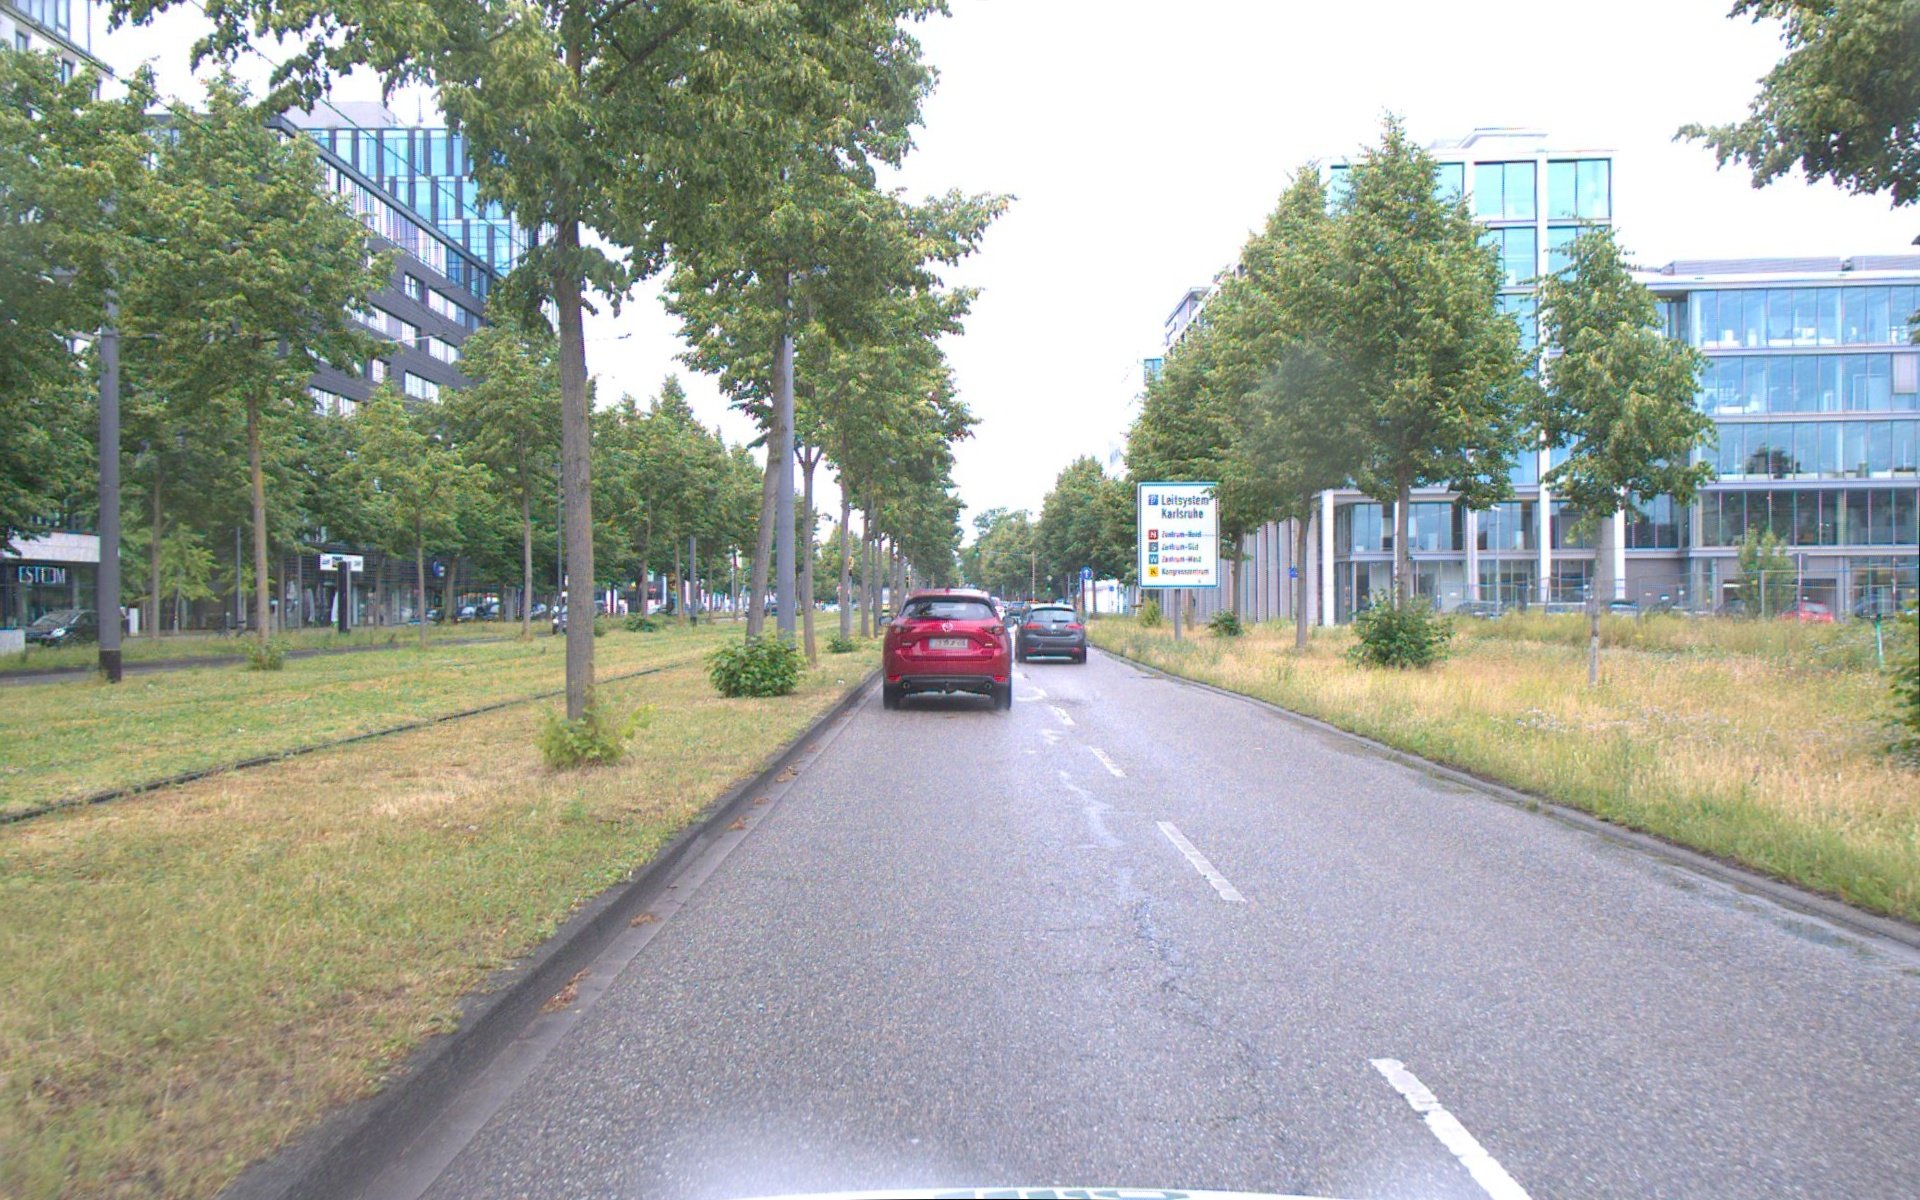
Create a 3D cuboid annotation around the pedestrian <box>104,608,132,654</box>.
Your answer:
[{"bbox_3d":[-37.517,1.377,73.696,0.778,2.016,0.856,0,0,1],"label":"pedestrian"}]

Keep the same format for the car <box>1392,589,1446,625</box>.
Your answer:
[{"bbox_3d":[21.132,0.298,76.221,1.815,1.608,4.003,0,0,7],"label":"car"}]

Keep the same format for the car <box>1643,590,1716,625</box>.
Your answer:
[{"bbox_3d":[32.447,0.325,74.682,1.748,1.500,4.232,0,0,5],"label":"car"}]

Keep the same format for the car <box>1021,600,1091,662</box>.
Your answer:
[{"bbox_3d":[2.478,0.752,42.148,1.707,1.490,3.783,0,0,4],"label":"car"}]

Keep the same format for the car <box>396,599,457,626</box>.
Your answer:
[{"bbox_3d":[-28.304,0.662,87.839,1.953,1.402,4.000,0,0,0],"label":"car"}]

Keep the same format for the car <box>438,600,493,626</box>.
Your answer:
[{"bbox_3d":[-28.069,0.719,94.037,1.953,1.402,4.000,0,0,0],"label":"car"}]

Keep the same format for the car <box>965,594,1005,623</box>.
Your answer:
[{"bbox_3d":[1.272,0.437,86.132,1.927,1.462,4.551,0,0,-2],"label":"car"}]

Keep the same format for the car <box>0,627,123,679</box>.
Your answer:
[{"bbox_3d":[-28.165,1.623,51.886,1.817,1.490,3.988,0,0,-1],"label":"car"}]

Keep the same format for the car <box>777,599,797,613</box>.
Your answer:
[{"bbox_3d":[-20.054,0.688,191.530,1.825,1.551,4.479,0,0,0],"label":"car"}]

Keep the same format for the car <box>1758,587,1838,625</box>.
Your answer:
[{"bbox_3d":[37.443,0.249,74.015,1.816,1.629,4.002,0,0,5],"label":"car"}]

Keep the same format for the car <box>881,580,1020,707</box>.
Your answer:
[{"bbox_3d":[-0.154,0.575,24.273,1.859,1.706,3.999,0,0,-1],"label":"car"}]

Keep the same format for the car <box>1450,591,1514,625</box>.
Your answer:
[{"bbox_3d":[23.847,0.356,75.689,1.816,1.480,4.560,0,0,5],"label":"car"}]

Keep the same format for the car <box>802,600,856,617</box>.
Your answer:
[{"bbox_3d":[-12.095,0.765,153.060,4.614,1.548,1.981,0,0,-29],"label":"car"}]

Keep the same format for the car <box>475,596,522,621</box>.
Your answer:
[{"bbox_3d":[-27.972,0.508,100.374,1.667,1.475,4.241,0,0,0],"label":"car"}]

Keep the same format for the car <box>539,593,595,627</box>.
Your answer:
[{"bbox_3d":[-20.238,0.499,85.267,1.953,1.685,3.699,0,0,0],"label":"car"}]

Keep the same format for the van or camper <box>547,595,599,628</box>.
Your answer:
[{"bbox_3d":[-28.228,0.804,120.811,2.383,2.356,5.850,0,0,0],"label":"van or camper"}]

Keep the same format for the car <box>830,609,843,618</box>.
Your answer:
[{"bbox_3d":[-19.156,2.077,256.887,1.675,1.429,4.000,0,0,0],"label":"car"}]
